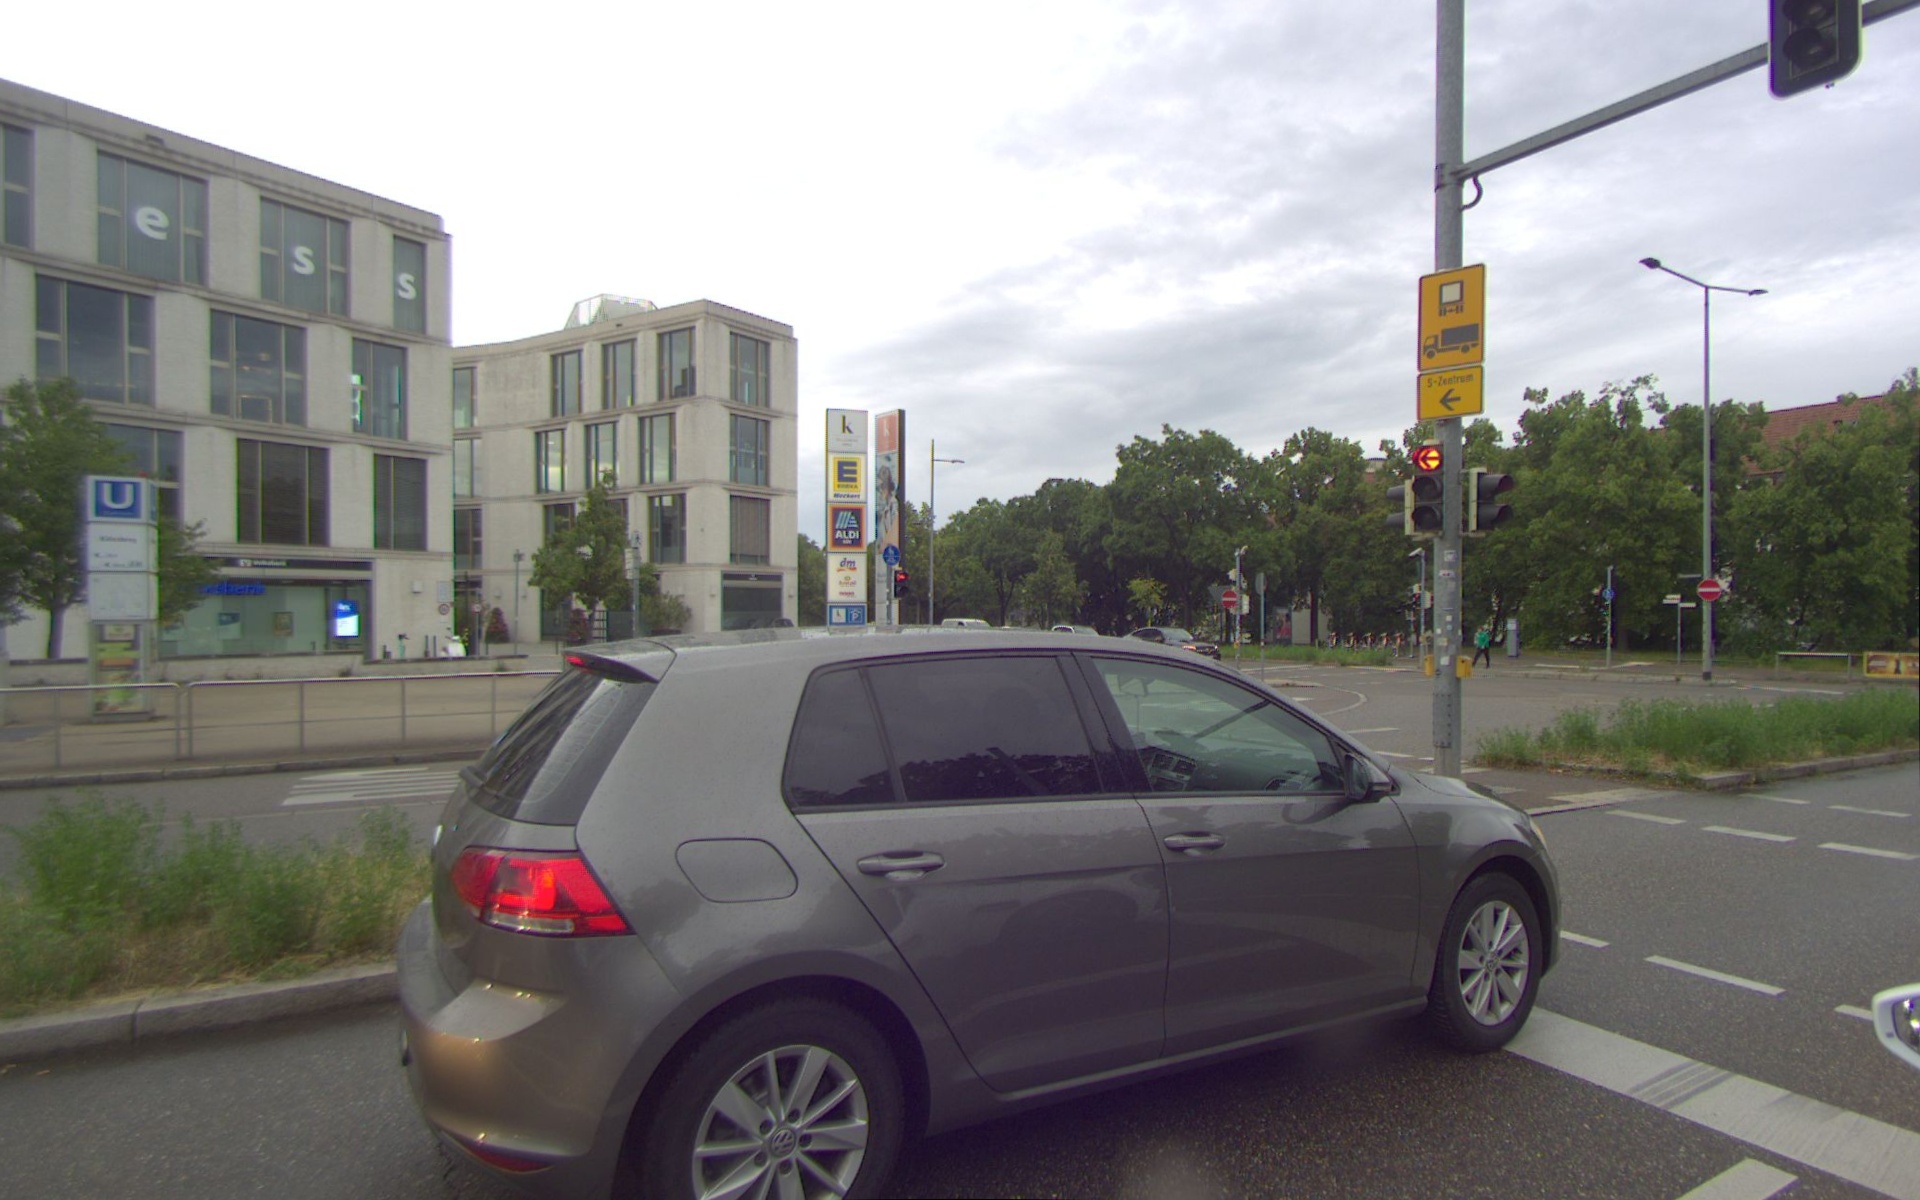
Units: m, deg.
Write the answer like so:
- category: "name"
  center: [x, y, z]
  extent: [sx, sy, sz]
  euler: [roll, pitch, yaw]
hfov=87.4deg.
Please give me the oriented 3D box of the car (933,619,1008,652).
- category: "car"
  center: [0.534, 1.942, 55.401]
  extent: [1.976, 1.615, 4.855]
  euler: [2, 0, -29]

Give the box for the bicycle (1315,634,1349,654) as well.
- category: "bicycle"
  center: [20.270, 2.399, 54.760]
  extent: [1.959, 1.085, 0.649]
  euler: [2, 0, -30]

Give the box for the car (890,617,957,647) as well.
- category: "car"
  center: [-2.254, 1.883, 60.390]
  extent: [1.976, 1.615, 4.855]
  euler: [2, 0, -29]

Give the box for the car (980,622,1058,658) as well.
- category: "car"
  center: [2.935, 1.993, 50.924]
  extent: [1.976, 1.615, 4.185]
  euler: [2, 0, -29]

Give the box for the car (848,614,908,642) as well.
- category: "car"
  center: [-5.456, 1.812, 66.109]
  extent: [1.977, 1.615, 4.852]
  euler: [2, 0, -31]

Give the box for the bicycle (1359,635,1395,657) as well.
- category: "bicycle"
  center: [21.675, 2.391, 52.170]
  extent: [1.959, 1.085, 0.649]
  euler: [2, 0, -30]

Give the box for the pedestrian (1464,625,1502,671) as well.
- category: "pedestrian"
  center: [20.596, 1.884, 39.585]
  extent: [0.933, 1.750, 0.920]
  euler: [2, 0, -25]

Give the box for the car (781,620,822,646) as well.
- category: "car"
  center: [-12.758, 2.660, 80.703]
  extent: [1.976, 2.040, 3.969]
  euler: [1, -1, -29]

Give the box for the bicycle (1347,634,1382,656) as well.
- category: "bicycle"
  center: [21.374, 2.374, 53.030]
  extent: [1.959, 1.085, 0.649]
  euler: [2, 0, -30]

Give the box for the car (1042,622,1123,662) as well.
- category: "car"
  center: [5.559, 1.907, 46.023]
  extent: [1.976, 1.615, 3.536]
  euler: [2, 0, -30]

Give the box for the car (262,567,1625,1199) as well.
- category: "car"
  center: [0.259, 0.757, 3.564]
  extent: [4.325, 1.501, 1.807]
  euler: [2, -1, -30]

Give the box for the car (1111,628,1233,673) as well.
- category: "car"
  center: [8.397, 1.964, 40.236]
  extent: [1.976, 1.520, 5.001]
  euler: [2, 0, -29]

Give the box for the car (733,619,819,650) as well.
- category: "car"
  center: [-9.184, 1.715, 50.314]
  extent: [1.968, 1.483, 3.985]
  euler: [0, -2, 37]

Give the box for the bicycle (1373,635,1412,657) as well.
- category: "bicycle"
  center: [22.245, 2.358, 51.646]
  extent: [1.959, 1.085, 0.798]
  euler: [2, 0, -30]

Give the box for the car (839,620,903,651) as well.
- category: "car"
  center: [-5.327, 2.108, 59.694]
  extent: [1.976, 1.615, 4.855]
  euler: [2, 0, -29]

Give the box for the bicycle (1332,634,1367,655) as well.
- category: "bicycle"
  center: [20.940, 2.385, 54.031]
  extent: [1.959, 1.085, 0.649]
  euler: [2, 0, -30]

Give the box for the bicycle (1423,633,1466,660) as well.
- category: "bicycle"
  center: [23.761, 2.283, 49.258]
  extent: [1.959, 1.266, 0.986]
  euler: [2, 0, -30]

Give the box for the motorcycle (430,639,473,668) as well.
- category: "motorcycle"
  center: [-14.161, 1.477, 27.960]
  extent: [1.081, 0.750, 0.522]
  euler: [2, 0, 29]
